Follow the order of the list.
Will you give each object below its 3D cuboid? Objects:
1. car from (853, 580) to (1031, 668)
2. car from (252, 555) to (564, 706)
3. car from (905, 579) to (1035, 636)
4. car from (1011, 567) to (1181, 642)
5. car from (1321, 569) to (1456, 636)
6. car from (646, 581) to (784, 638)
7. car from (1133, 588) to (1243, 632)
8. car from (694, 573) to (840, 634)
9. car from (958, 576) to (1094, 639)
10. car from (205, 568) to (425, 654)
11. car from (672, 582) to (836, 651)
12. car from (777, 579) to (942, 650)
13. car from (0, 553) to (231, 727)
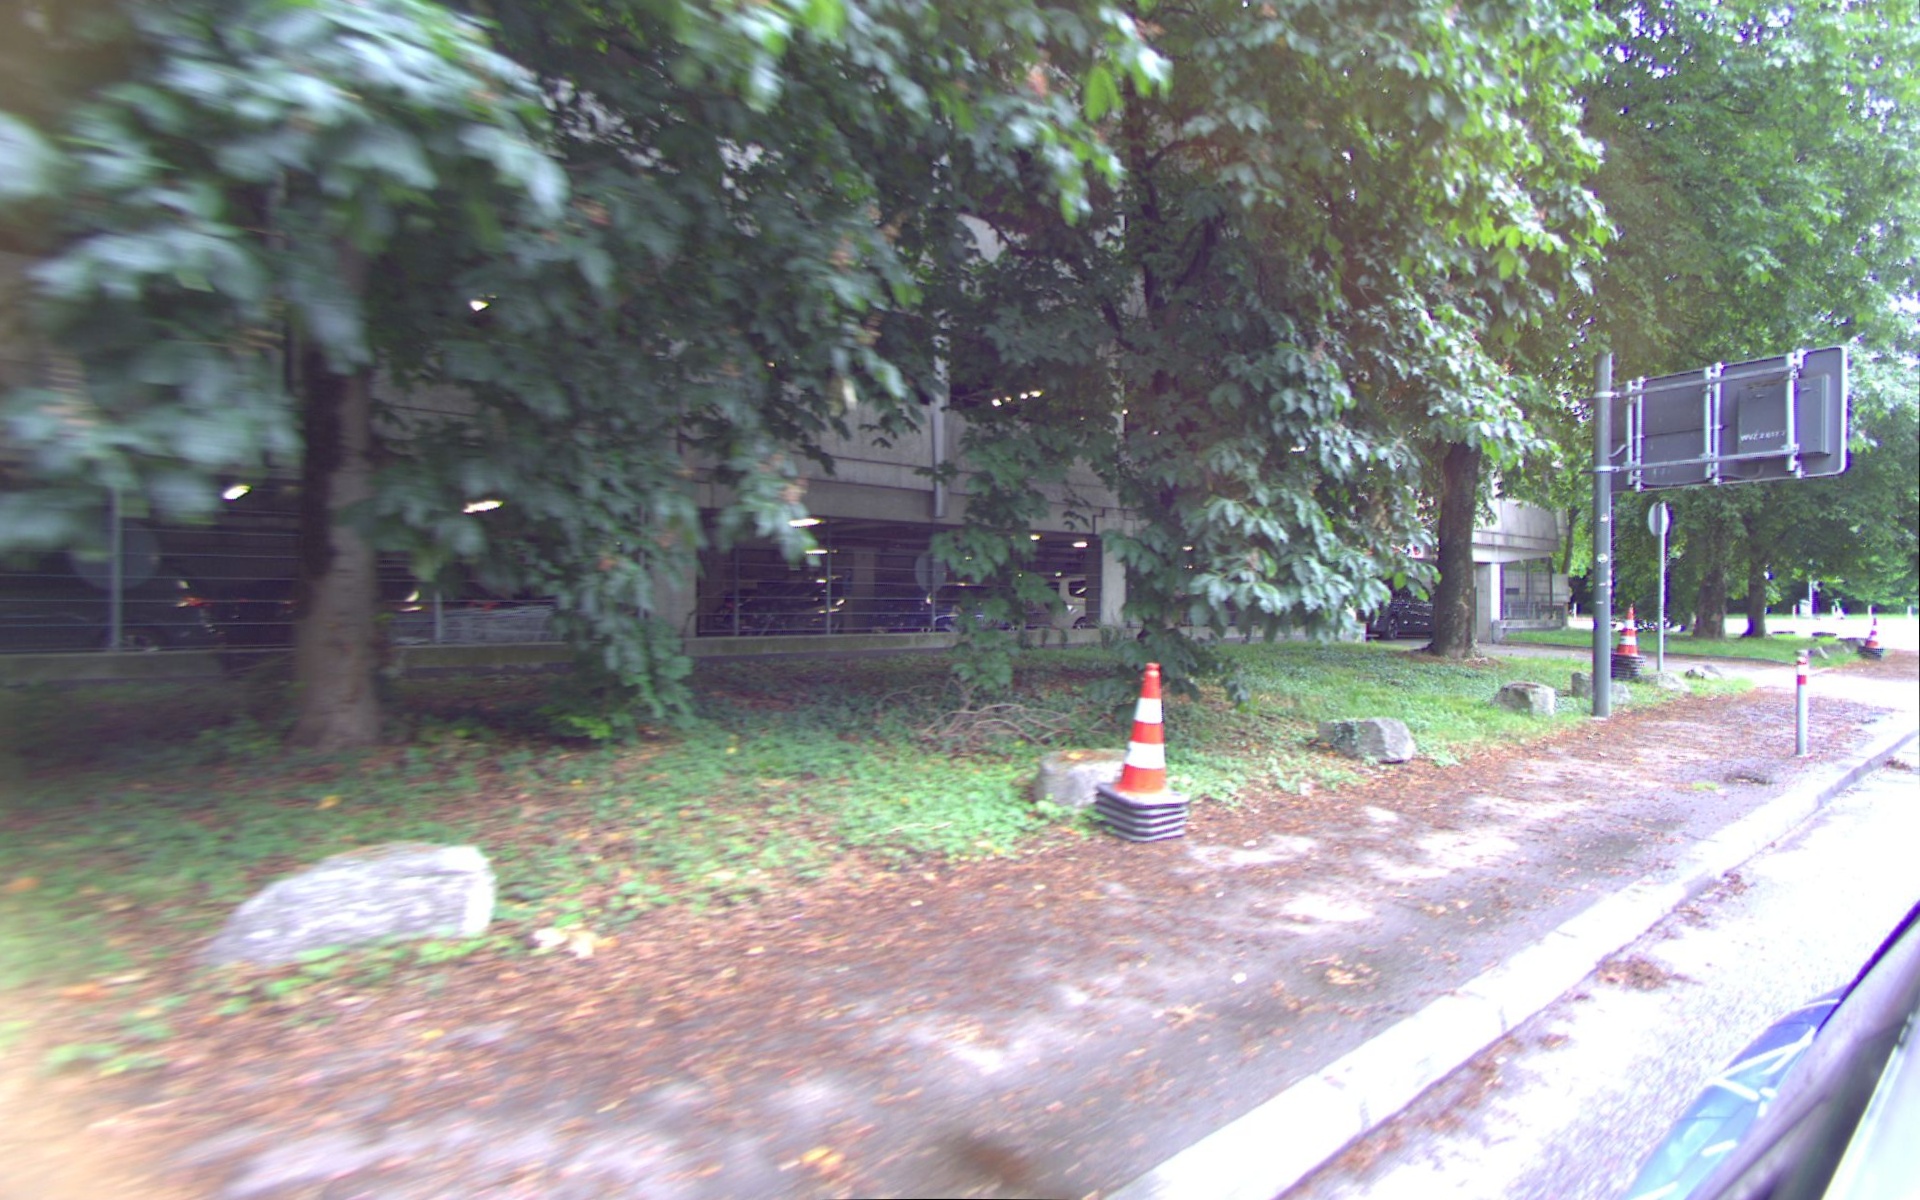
[{"bbox_3d":[-0.335,0.470,22.366,3.790,1.730,1.588,-2,0,-41],"label":"car"},{"bbox_3d":[-8.484,0.375,15.692,3.929,2.039,1.997,-2,0,-40],"label":"car"},{"bbox_3d":[0.331,0.197,30.021,3.639,1.565,1.718,-2,0,-42],"label":"car"},{"bbox_3d":[3.487,0.072,25.471,4.587,1.730,1.588,-2,0,-41],"label":"car"},{"bbox_3d":[12.958,0.078,30.480,4.653,1.858,1.922,0,-1,-41],"label":"car"},{"bbox_3d":[-7.343,0.259,30.471,3.638,1.565,1.719,-2,0,-41],"label":"car"},{"bbox_3d":[8.403,0.325,37.198,3.927,1.471,1.876,-2,0,-38],"label":"car"},{"bbox_3d":[-5.353,0.074,28.310,3.639,1.565,1.718,-2,0,-42],"label":"car"},{"bbox_3d":[1.872,0.186,28.078,3.629,1.606,1.718,-2,0,-42],"label":"car"},{"bbox_3d":[-13.402,0.182,21.139,3.639,1.627,1.718,-2,0,-42],"label":"car"},{"bbox_3d":[-5.071,0.364,25.156,3.639,1.565,1.718,-2,0,-42],"label":"car"},{"bbox_3d":[-2.383,0.305,24.415,3.639,1.565,1.718,-2,0,-42],"label":"car"},{"bbox_3d":[-11.941,0.480,12.502,4.594,2.039,1.996,-2,0,-41],"label":"car"}]
